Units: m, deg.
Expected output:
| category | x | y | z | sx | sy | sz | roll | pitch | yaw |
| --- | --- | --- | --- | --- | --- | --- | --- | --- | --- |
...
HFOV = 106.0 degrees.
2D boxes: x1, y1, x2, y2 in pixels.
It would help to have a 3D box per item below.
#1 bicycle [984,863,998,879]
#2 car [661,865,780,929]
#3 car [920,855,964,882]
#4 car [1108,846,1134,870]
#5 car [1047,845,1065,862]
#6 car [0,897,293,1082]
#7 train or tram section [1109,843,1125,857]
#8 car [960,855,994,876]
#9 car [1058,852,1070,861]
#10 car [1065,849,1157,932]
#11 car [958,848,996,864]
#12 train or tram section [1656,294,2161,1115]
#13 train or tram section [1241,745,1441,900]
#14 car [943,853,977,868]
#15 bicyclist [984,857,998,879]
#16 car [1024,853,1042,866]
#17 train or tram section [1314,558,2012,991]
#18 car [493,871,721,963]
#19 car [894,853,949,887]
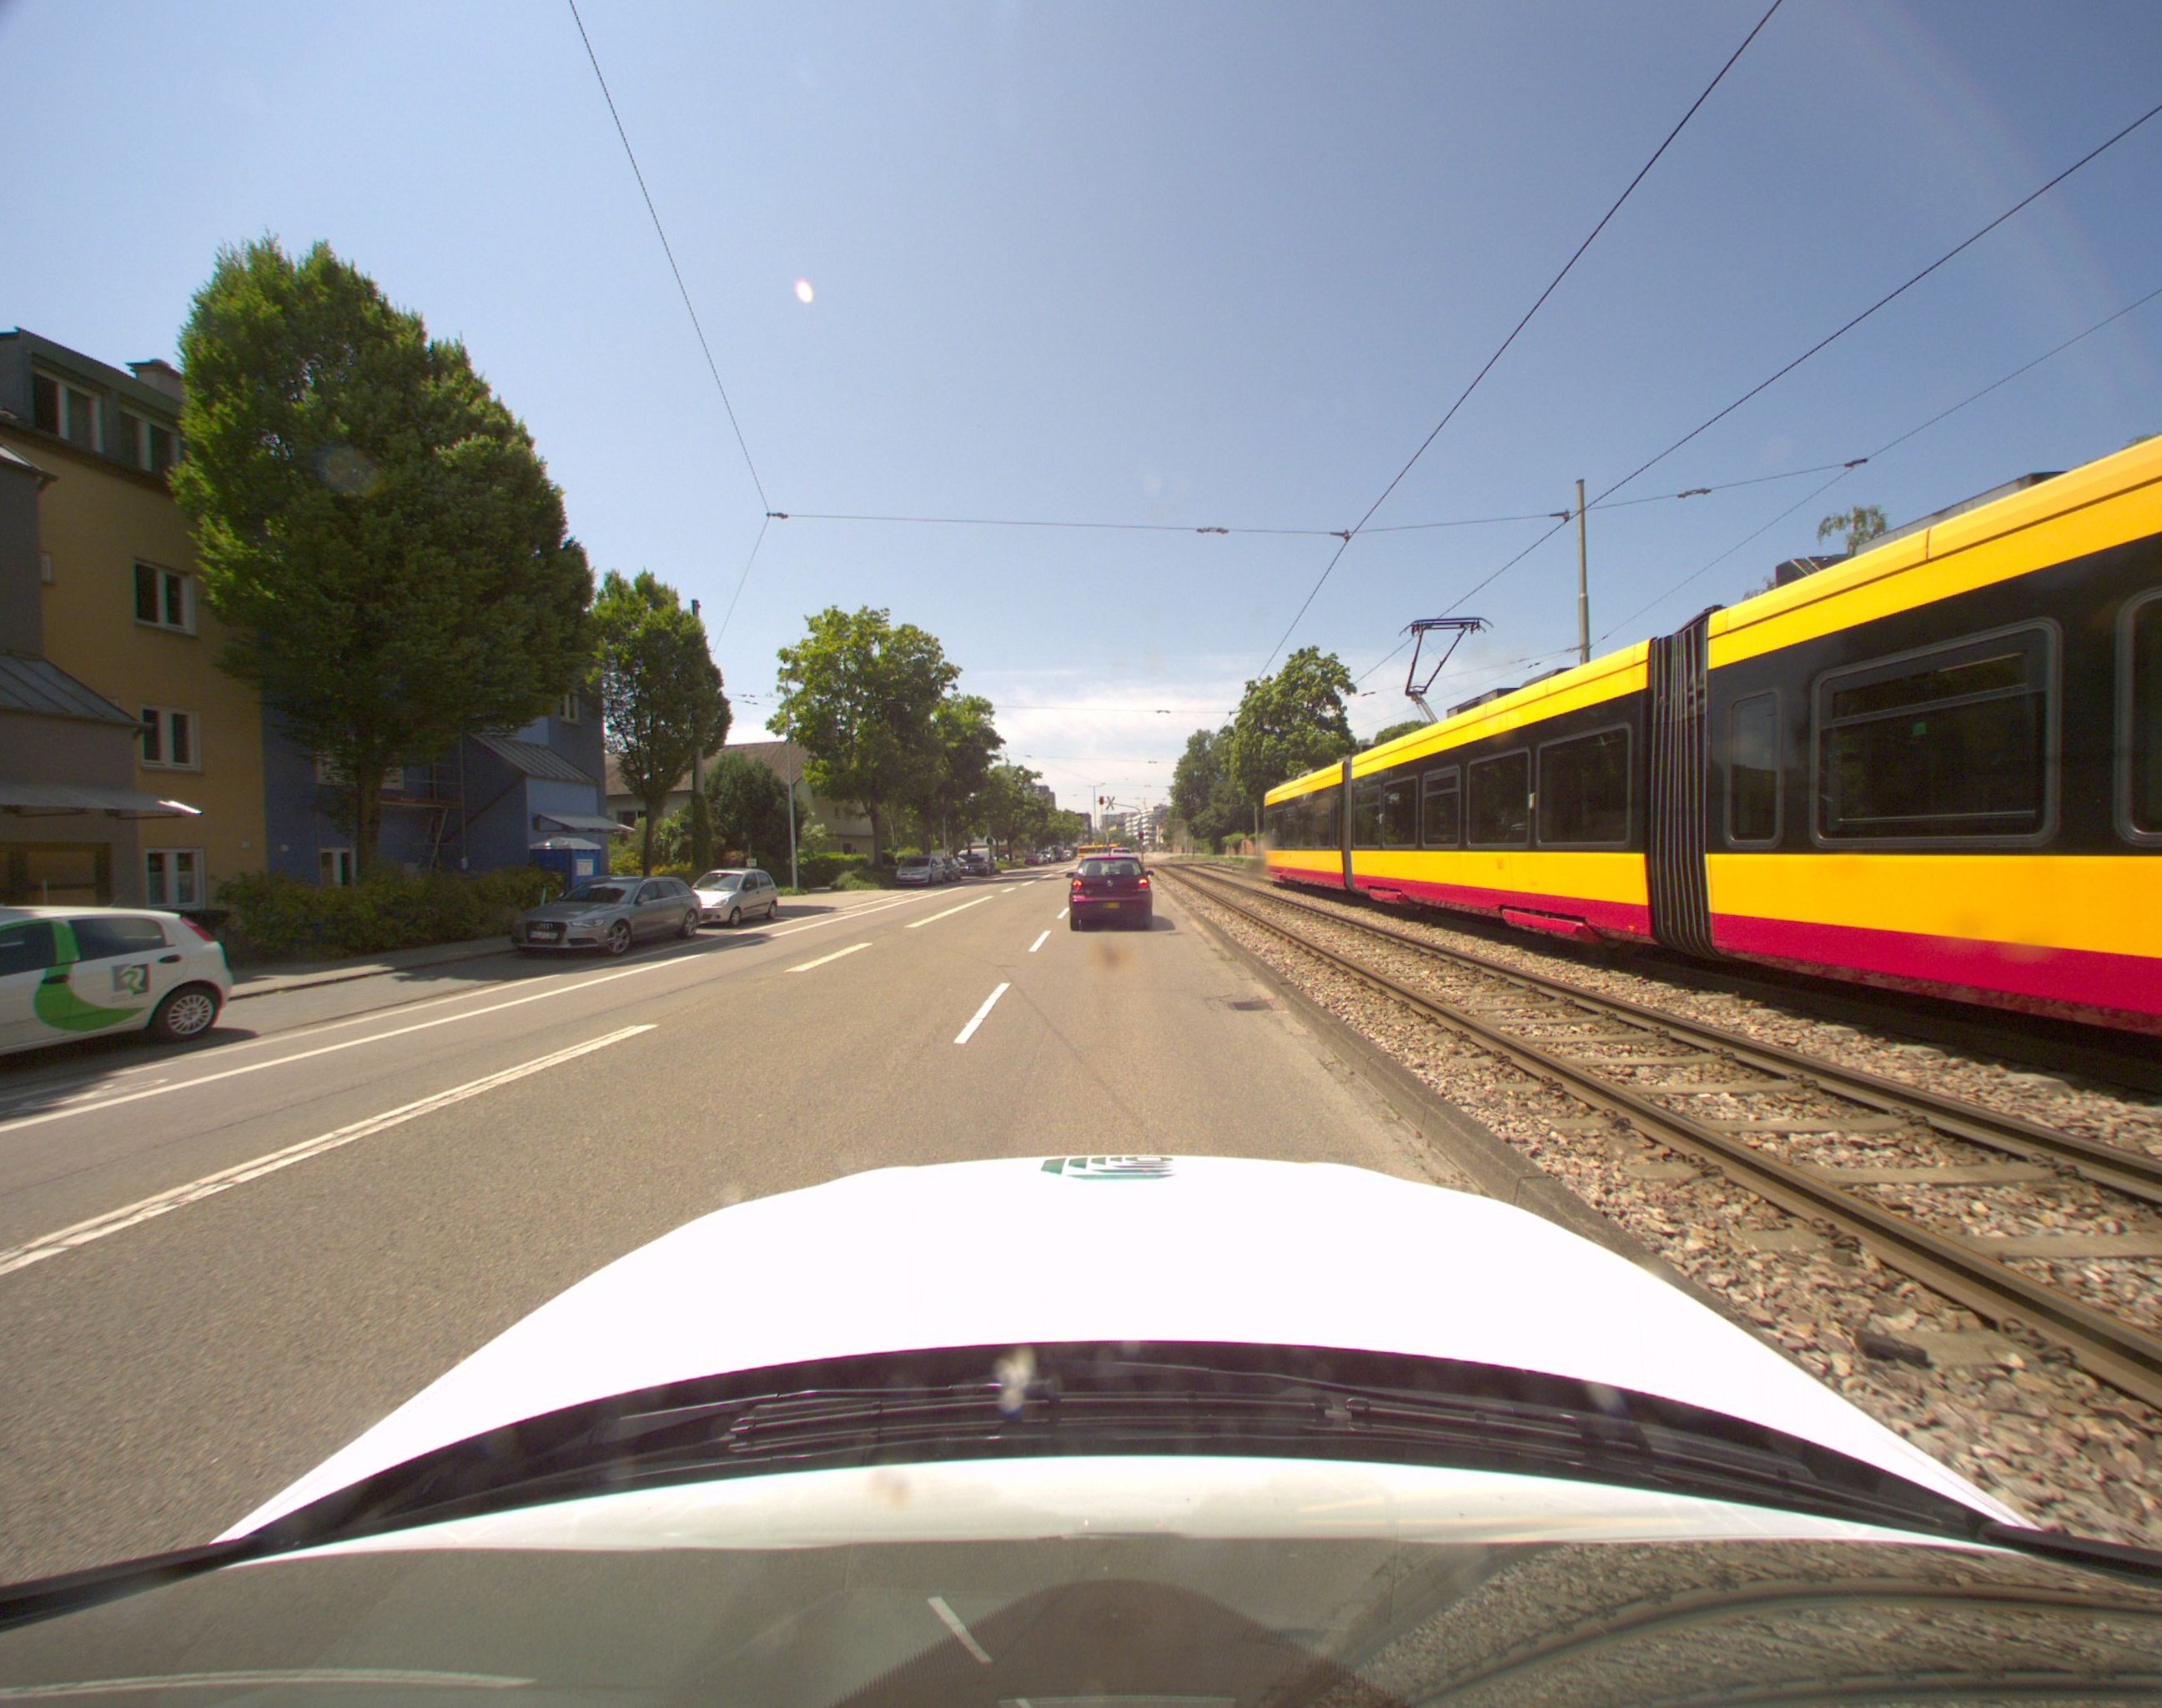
| category | x | y | z | sx | sy | sz | roll | pitch | yaw |
| --- | --- | --- | --- | --- | --- | --- | --- | --- | --- |
| bicycle | -6.251 | 1.180 | 56.596 | 0.699 | 0.951 | 2.243 | -5 | 1 | 0 |
| car | -9.872 | 1.125 | 22.607 | 1.587 | 1.495 | 3.451 | 2 | 1 | 2 |
| car | -8.434 | 0.847 | 49.905 | 1.811 | 1.564 | 4.183 | -1 | 0 | 2 |
| car | 2.895 | 0.288 | 59.285 | 1.770 | 1.647 | 4.002 | -1 | 0 | 2 |
| car | -3.942 | -0.050 | 129.207 | 2.351 | 2.692 | 5.312 | 0 | -1 | 3 |
| car | -10.599 | 1.298 | 7.745 | 1.739 | 1.442 | 4.422 | 2 | 1 | 2 |
| train or tram section | 9.282 | -0.993 | 212.164 | 2.736 | 3.609 | 12.850 | 0 | 0 | -4 |
| car | -7.838 | 0.863 | 61.673 | 1.811 | 1.476 | 4.451 | -1 | 0 | 2 |
| car | -3.024 | 0.473 | 146.676 | 1.606 | 1.441 | 4.007 | 0 | -1 | 6 |
| car | 0.618 | 0.658 | 17.048 | 1.666 | 1.521 | 4.002 | -1 | 0 | 2 |
| car | -14.822 | 0.279 | 116.397 | 5.075 | 2.244 | 2.380 | 0 | -1 | 3 |
| train or tram section | 6.376 | -0.706 | 0.673 | 3.016 | 3.797 | 13.099 | -2 | 0 | 3 |
| train or tram section | 7.813 | -0.833 | 26.921 | 3.016 | 3.797 | 12.770 | -2 | 0 | 3 |
| car | -15.668 | 0.859 | 105.800 | 3.972 | 1.746 | 1.999 | -3 | 0 | 1 |
| bicyclist | -6.236 | 0.979 | 56.633 | 0.733 | 1.431 | 1.124 | -6 | 0 | -1 |
| car | -5.892 | 0.654 | 99.403 | 1.655 | 1.497 | 4.005 | 0 | -1 | 4 |
| train or tram section | 7.124 | -0.750 | 13.917 | 3.016 | 3.797 | 13.099 | -2 | 0 | 3 |
| car | -9.892 | 1.217 | 17.600 | 1.780 | 1.450 | 5.135 | 2 | 1 | 1 |
| car | -8.685 | 0.830 | 44.671 | 1.865 | 1.664 | 4.784 | -2 | 1 | 2 |
